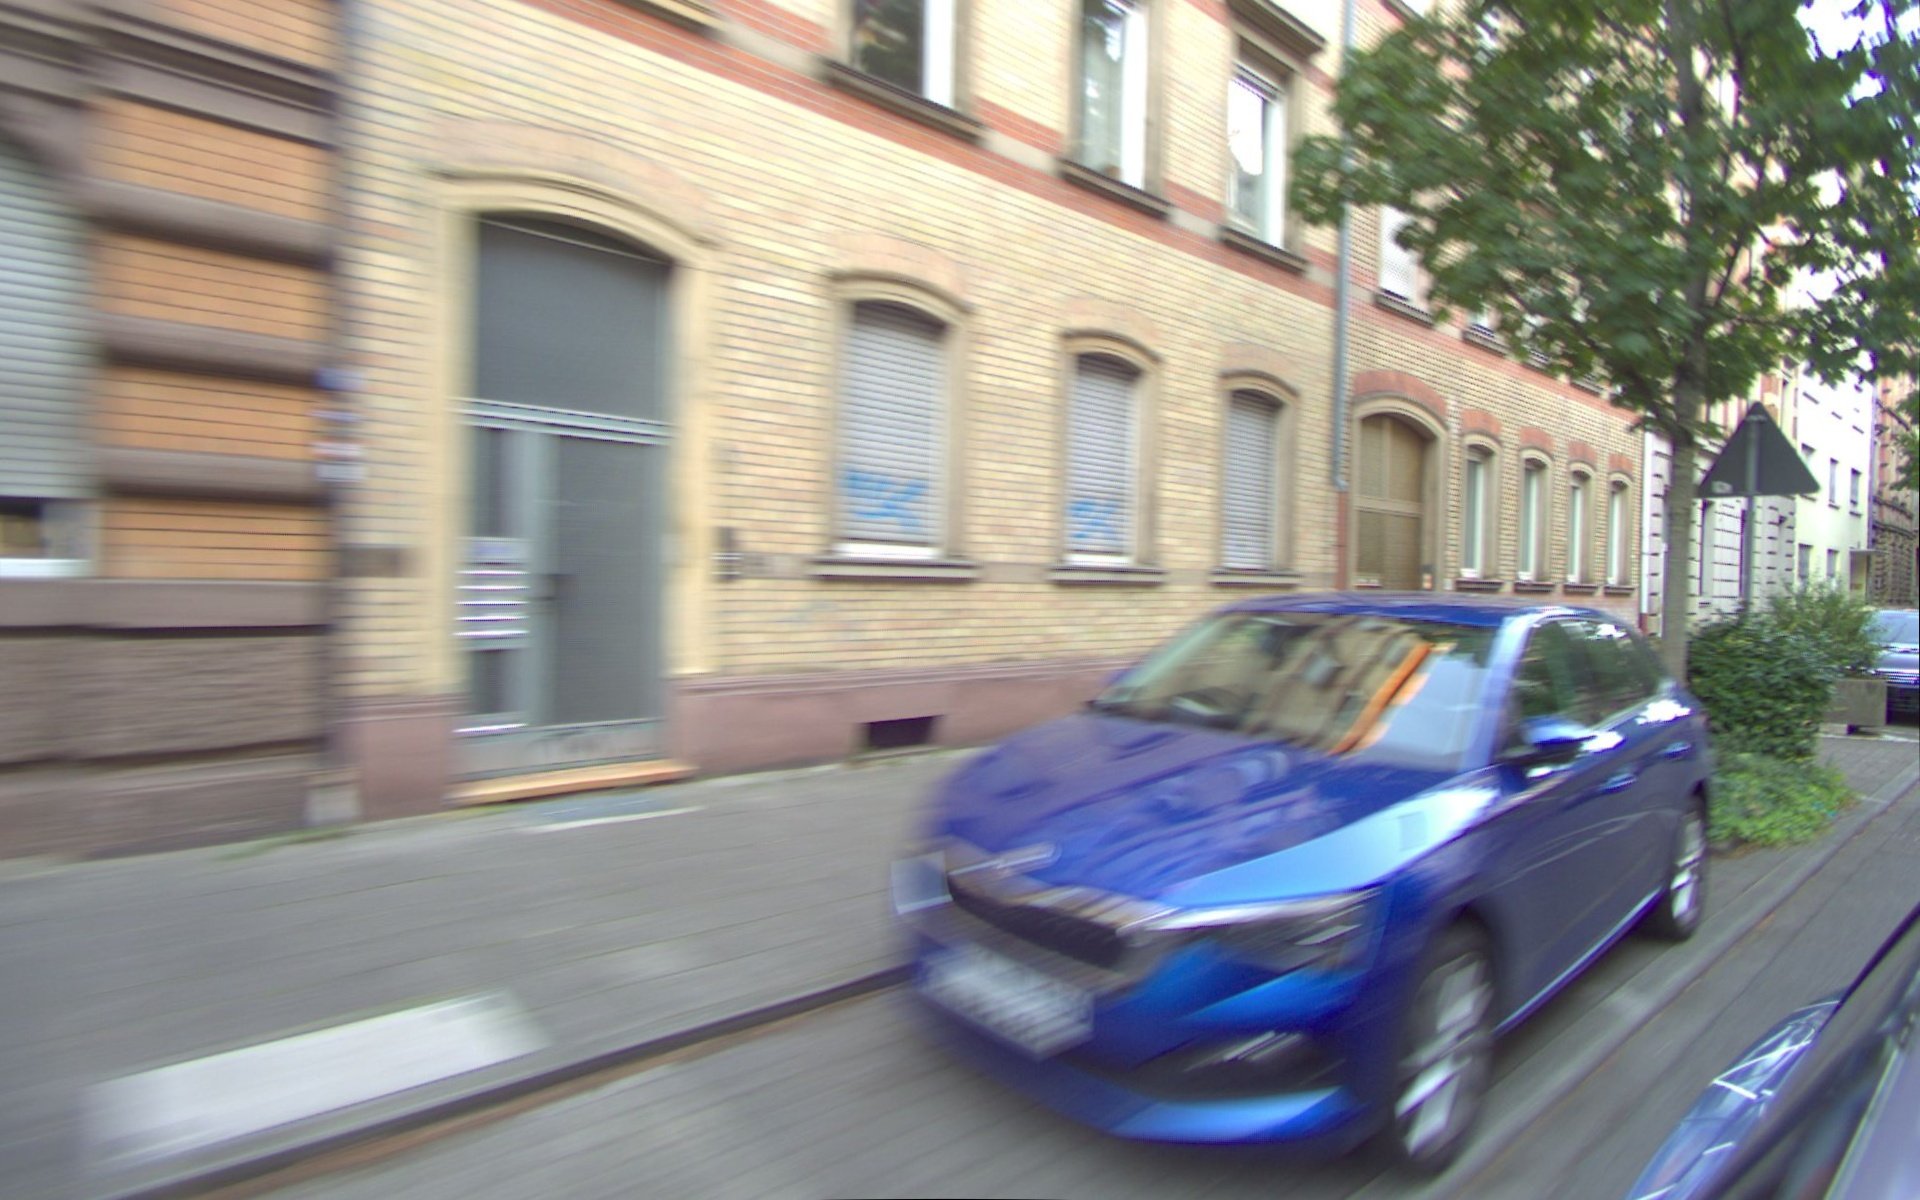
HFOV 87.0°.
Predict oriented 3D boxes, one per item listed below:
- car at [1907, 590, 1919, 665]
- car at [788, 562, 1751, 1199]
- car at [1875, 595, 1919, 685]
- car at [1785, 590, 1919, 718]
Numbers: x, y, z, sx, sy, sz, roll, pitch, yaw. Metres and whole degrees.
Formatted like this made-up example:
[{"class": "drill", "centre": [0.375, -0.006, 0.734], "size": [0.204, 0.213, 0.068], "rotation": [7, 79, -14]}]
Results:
[{"class": "car", "centre": [21.311, 0.590, 21.259], "size": [4.293, 1.494, 1.719], "rotation": [0, 2, -43]}, {"class": "car", "centre": [1.565, 0.644, 3.862], "size": [4.173, 1.485, 1.630], "rotation": [0, 1, -43]}, {"class": "car", "centre": [17.226, 0.671, 17.552], "size": [3.503, 1.441, 1.638], "rotation": [0, 2, -42]}, {"class": "car", "centre": [12.600, 0.629, 13.406], "size": [4.394, 1.432, 1.771], "rotation": [0, 3, -40]}]
